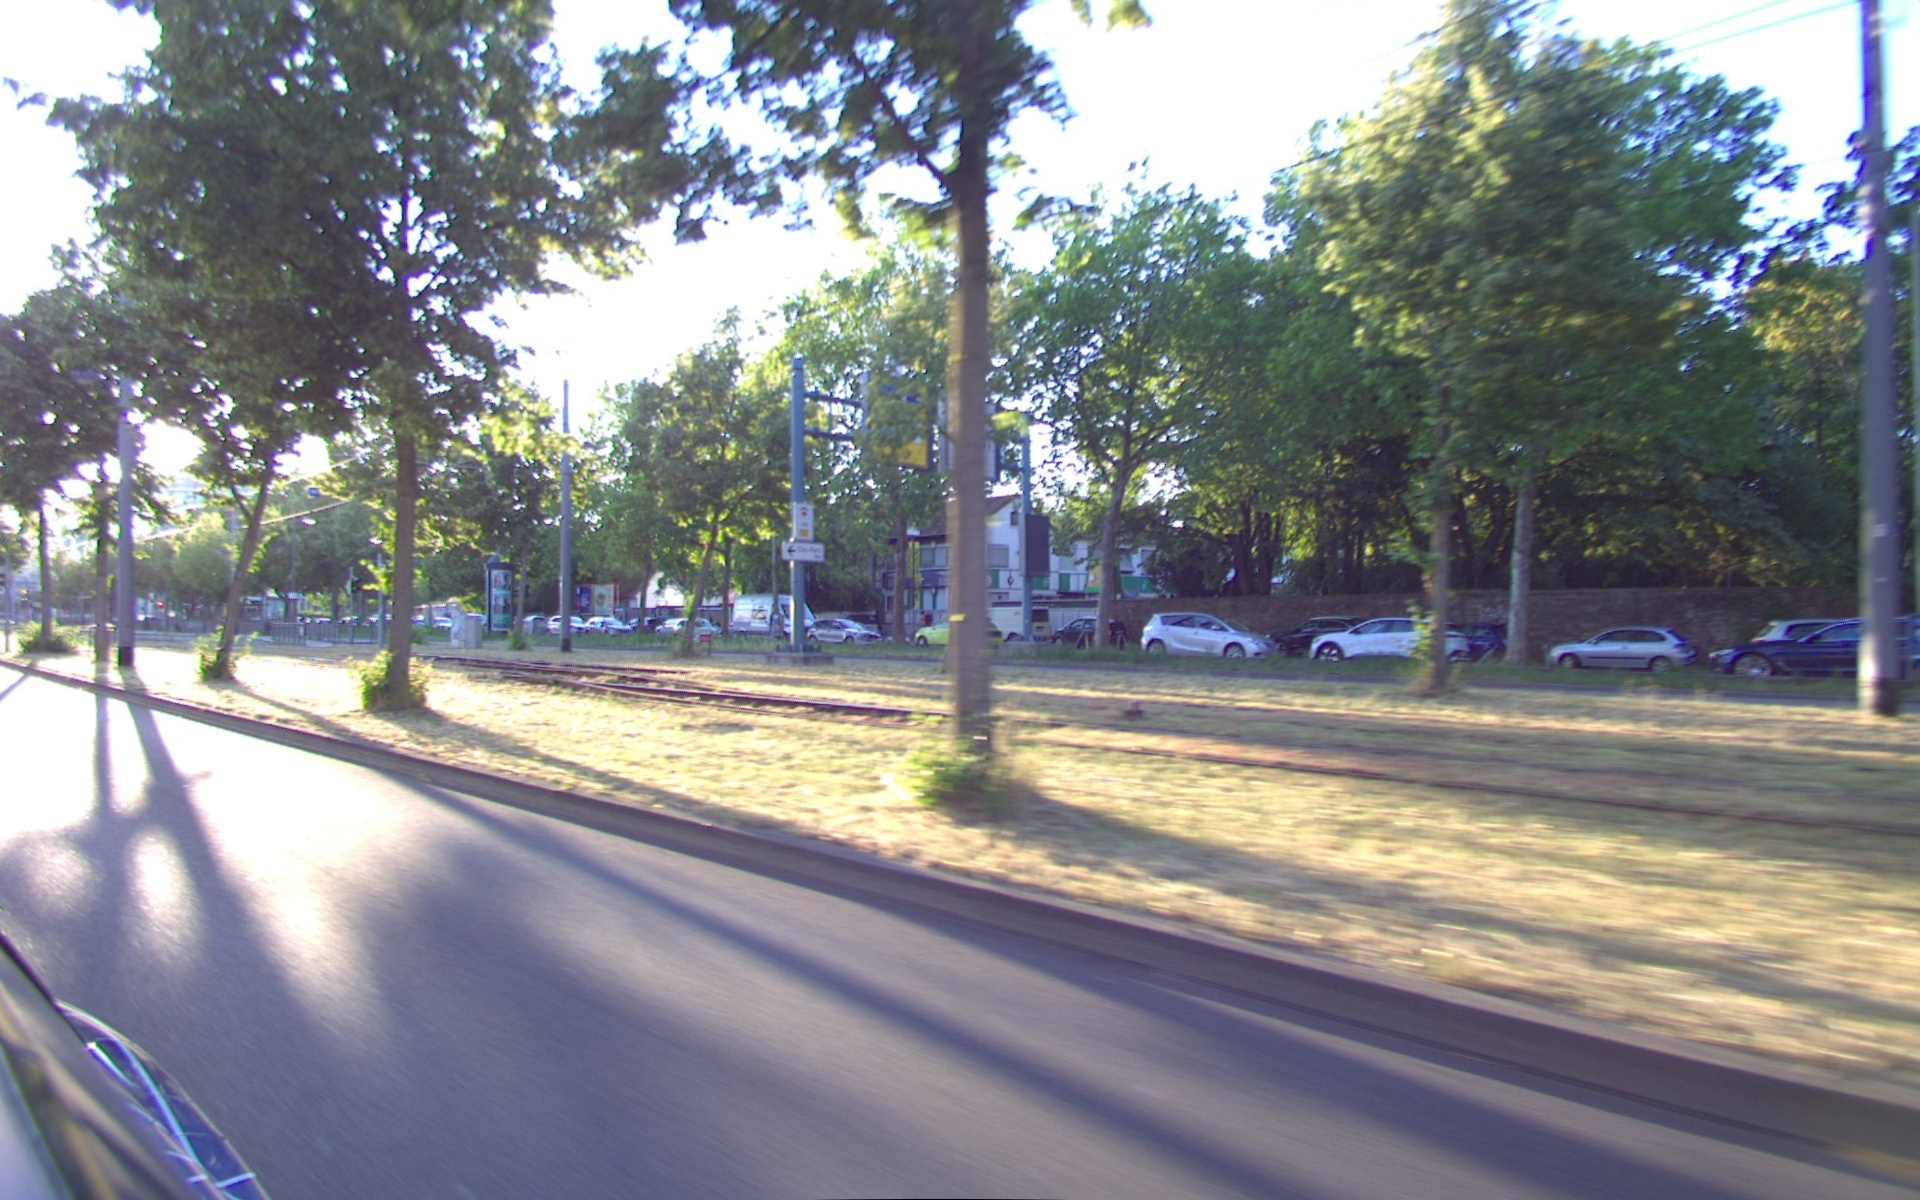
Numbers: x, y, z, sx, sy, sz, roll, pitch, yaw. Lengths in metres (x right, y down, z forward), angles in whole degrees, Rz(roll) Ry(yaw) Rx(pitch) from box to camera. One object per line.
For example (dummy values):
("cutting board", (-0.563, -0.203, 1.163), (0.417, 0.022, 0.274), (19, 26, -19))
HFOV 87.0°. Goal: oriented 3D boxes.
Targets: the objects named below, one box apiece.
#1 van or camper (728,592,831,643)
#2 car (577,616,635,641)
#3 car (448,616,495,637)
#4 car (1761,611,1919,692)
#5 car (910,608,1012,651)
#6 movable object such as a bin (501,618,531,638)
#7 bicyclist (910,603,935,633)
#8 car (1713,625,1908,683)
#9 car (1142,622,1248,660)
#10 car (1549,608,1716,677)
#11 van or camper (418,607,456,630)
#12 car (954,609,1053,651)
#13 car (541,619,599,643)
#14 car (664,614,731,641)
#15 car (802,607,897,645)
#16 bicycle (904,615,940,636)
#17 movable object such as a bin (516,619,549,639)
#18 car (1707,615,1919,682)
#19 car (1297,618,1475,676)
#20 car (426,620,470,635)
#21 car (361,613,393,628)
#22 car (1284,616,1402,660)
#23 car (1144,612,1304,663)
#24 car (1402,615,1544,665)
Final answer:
("van or camper", (-9.072, 0.884, 50.527), (2.258, 2.383, 5.787), (1, -1, -44))
("car", (-22.177, 1.777, 63.318), (4.053, 1.543, 1.790), (-1, -1, 43))
("car", (-38.998, 2.081, 80.709), (4.297, 1.597, 1.972), (-1, -1, 43))
("car", (21.185, 1.140, 23.213), (1.970, 1.763, 4.163), (1, -1, -44))
("car", (-0.008, 1.163, 40.663), (1.969, 1.652, 4.005), (1, -1, -42))
("movable object such as a bin", (-31.725, 2.013, 72.337), (1.701, 1.422, 1.393), (-1, -1, 42))
("bicyclist", (-1.945, 0.940, 52.297), (0.719, 1.545, 1.086), (1, -2, -43))
("car", (24.076, 1.478, 28.752), (1.969, 1.497, 4.005), (1, -1, -42))
("car", (10.034, 1.718, 43.338), (4.051, 1.503, 1.839), (-1, -2, 44))
("car", (21.026, 1.281, 31.751), (1.969, 2.029, 4.005), (1, -1, -42))
("van or camper", (-58.795, 2.097, 113.699), (2.363, 2.583, 5.638), (1, -1, -43))
("car", (2.180, 1.503, 51.623), (5.060, 2.029, 1.971), (-1, -1, 45))
("car", (-26.124, 2.068, 67.758), (4.298, 1.512, 1.972), (-1, -1, 43))
("car", (-15.543, 1.605, 59.864), (4.098, 1.512, 1.972), (-1, -1, 43))
("car", (-5.089, 1.165, 46.177), (4.205, 1.649, 1.973), (-1, -1, 40))
("bicycle", (-1.963, 1.305, 52.313), (0.722, 1.099, 2.018), (1, -2, -43))
("movable object such as a bin", (-29.677, 2.019, 70.237), (1.724, 1.383, 1.536), (-1, -1, 42))
("car", (19.094, 0.988, 21.352), (1.971, 1.325, 5.145), (1, -1, -45))
("car", (12.033, 1.284, 28.751), (4.305, 1.511, 1.879), (-1, -1, 42))
("car", (-42.786, 2.269, 84.500), (4.089, 1.210, 1.972), (-1, -1, 43))
("car", (-61.224, 2.191, 106.289), (1.970, 1.541, 4.003), (1, -1, -44))
("car", (14.602, 1.419, 38.671), (3.840, 1.608, 1.746), (-1, -2, 44))
("car", (8.357, 1.150, 32.292), (4.556, 1.510, 1.972), (-1, -1, 42))
("car", (17.986, 1.356, 35.608), (1.969, 1.653, 4.004), (1, -1, -42))
